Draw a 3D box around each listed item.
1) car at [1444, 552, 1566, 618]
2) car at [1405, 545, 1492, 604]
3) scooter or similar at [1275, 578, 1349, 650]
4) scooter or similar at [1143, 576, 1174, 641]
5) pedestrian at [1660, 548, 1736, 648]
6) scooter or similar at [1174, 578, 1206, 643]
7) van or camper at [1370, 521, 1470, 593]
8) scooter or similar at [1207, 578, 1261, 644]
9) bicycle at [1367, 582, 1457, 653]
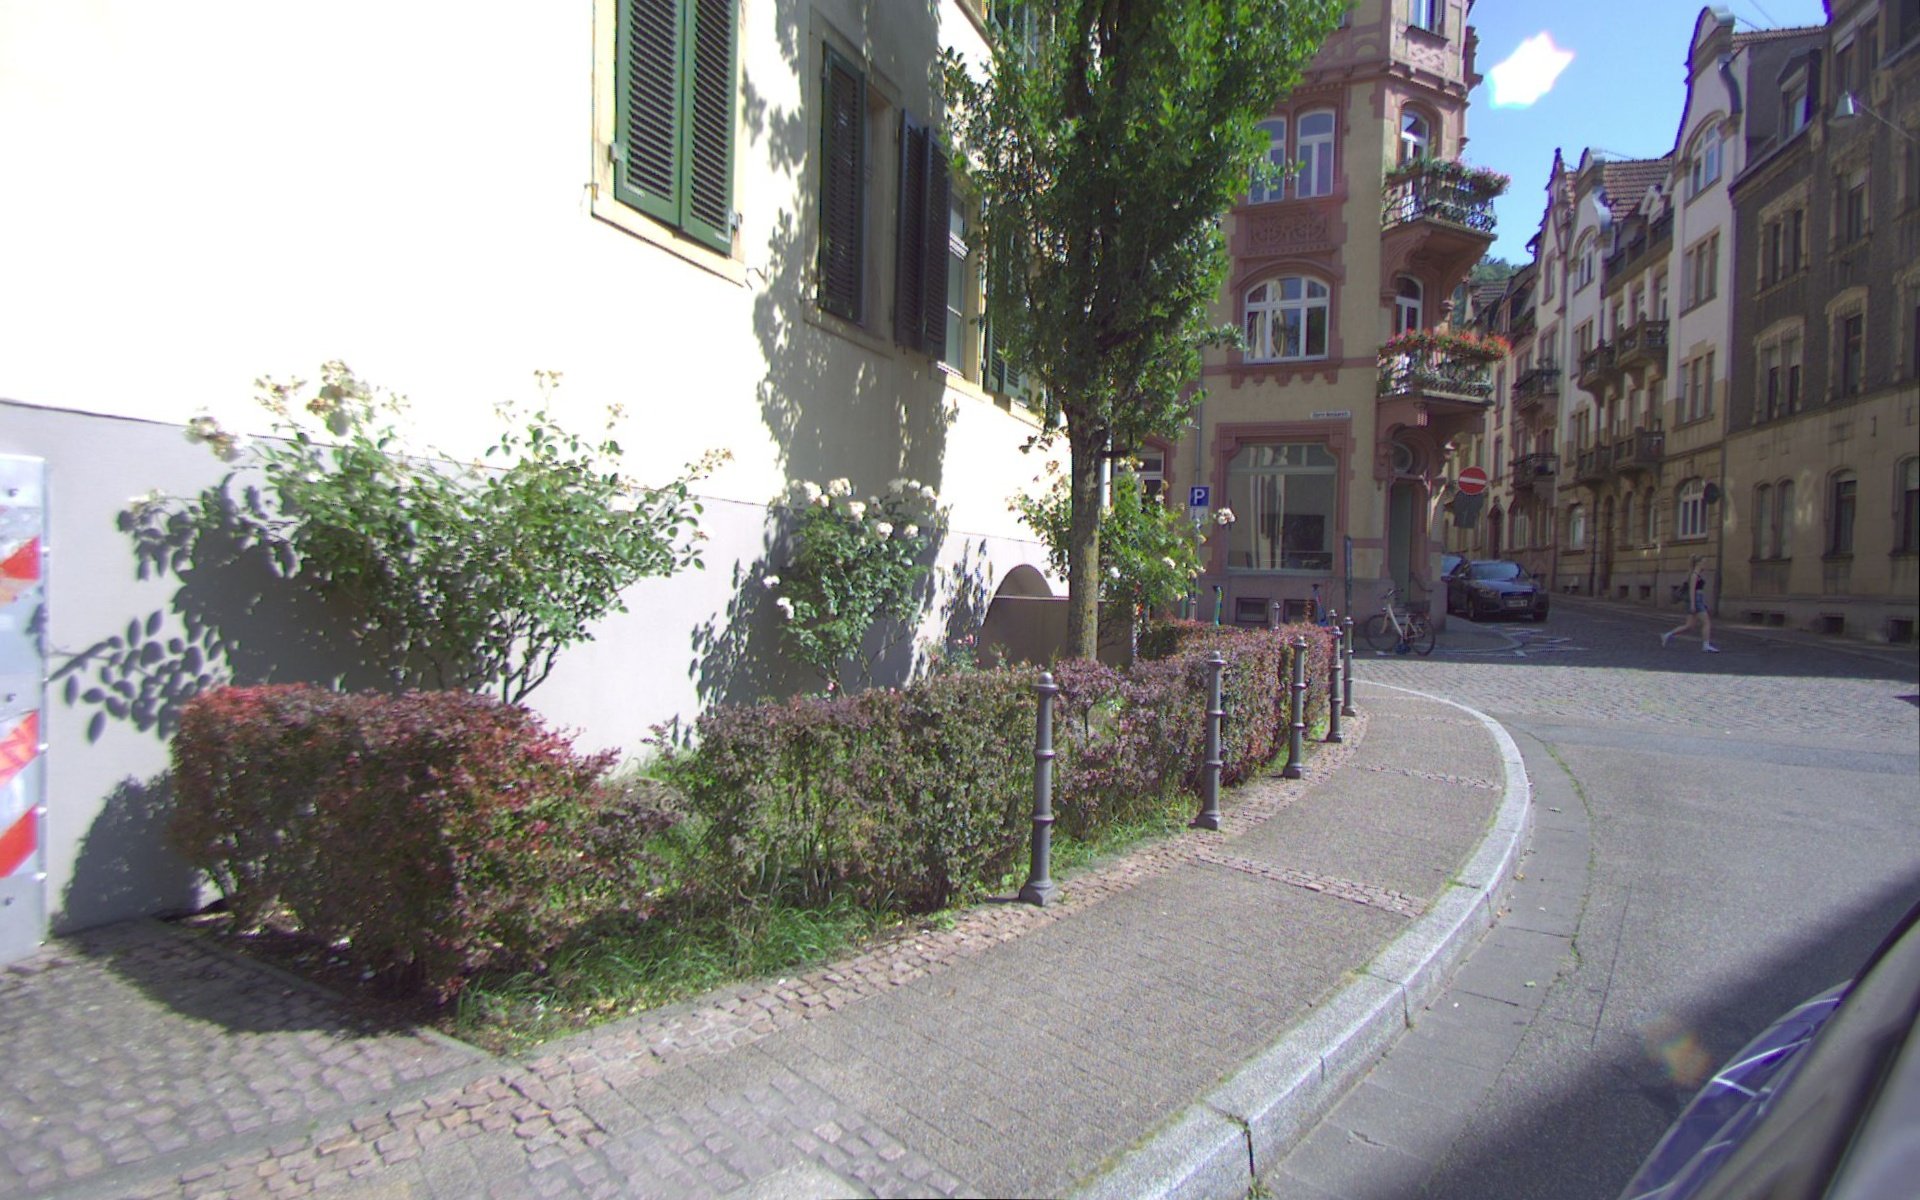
[{"bbox_3d":[14.591,-0.478,27.367,1.834,1.602,4.246,0,3,13],"label":"car"},{"bbox_3d":[15.652,-0.880,32.617,1.736,1.726,3.985,-1,3,15],"label":"car"},{"bbox_3d":[6.390,0.239,18.419,1.172,1.250,0.441,2,1,11],"label":"scooter or similar"},{"bbox_3d":[3.926,0.153,20.037,0.336,1.224,1.191,1,1,-1],"label":"scooter or similar"},{"bbox_3d":[13.639,-0.059,18.731,0.970,1.779,0.619,1,4,24],"label":"pedestrian"},{"bbox_3d":[4.519,0.183,19.923,0.406,1.224,1.233,1,1,5],"label":"scooter or similar"},{"bbox_3d":[17.843,-1.784,39.643,2.194,2.550,6.745,2,4,13],"label":"van or camper"},{"bbox_3d":[5.273,0.193,19.507,0.335,1.224,1.193,1,2,-22],"label":"scooter or similar"},{"bbox_3d":[8.167,0.290,18.369,0.495,1.160,1.798,1,2,-12],"label":"bicycle"}]
